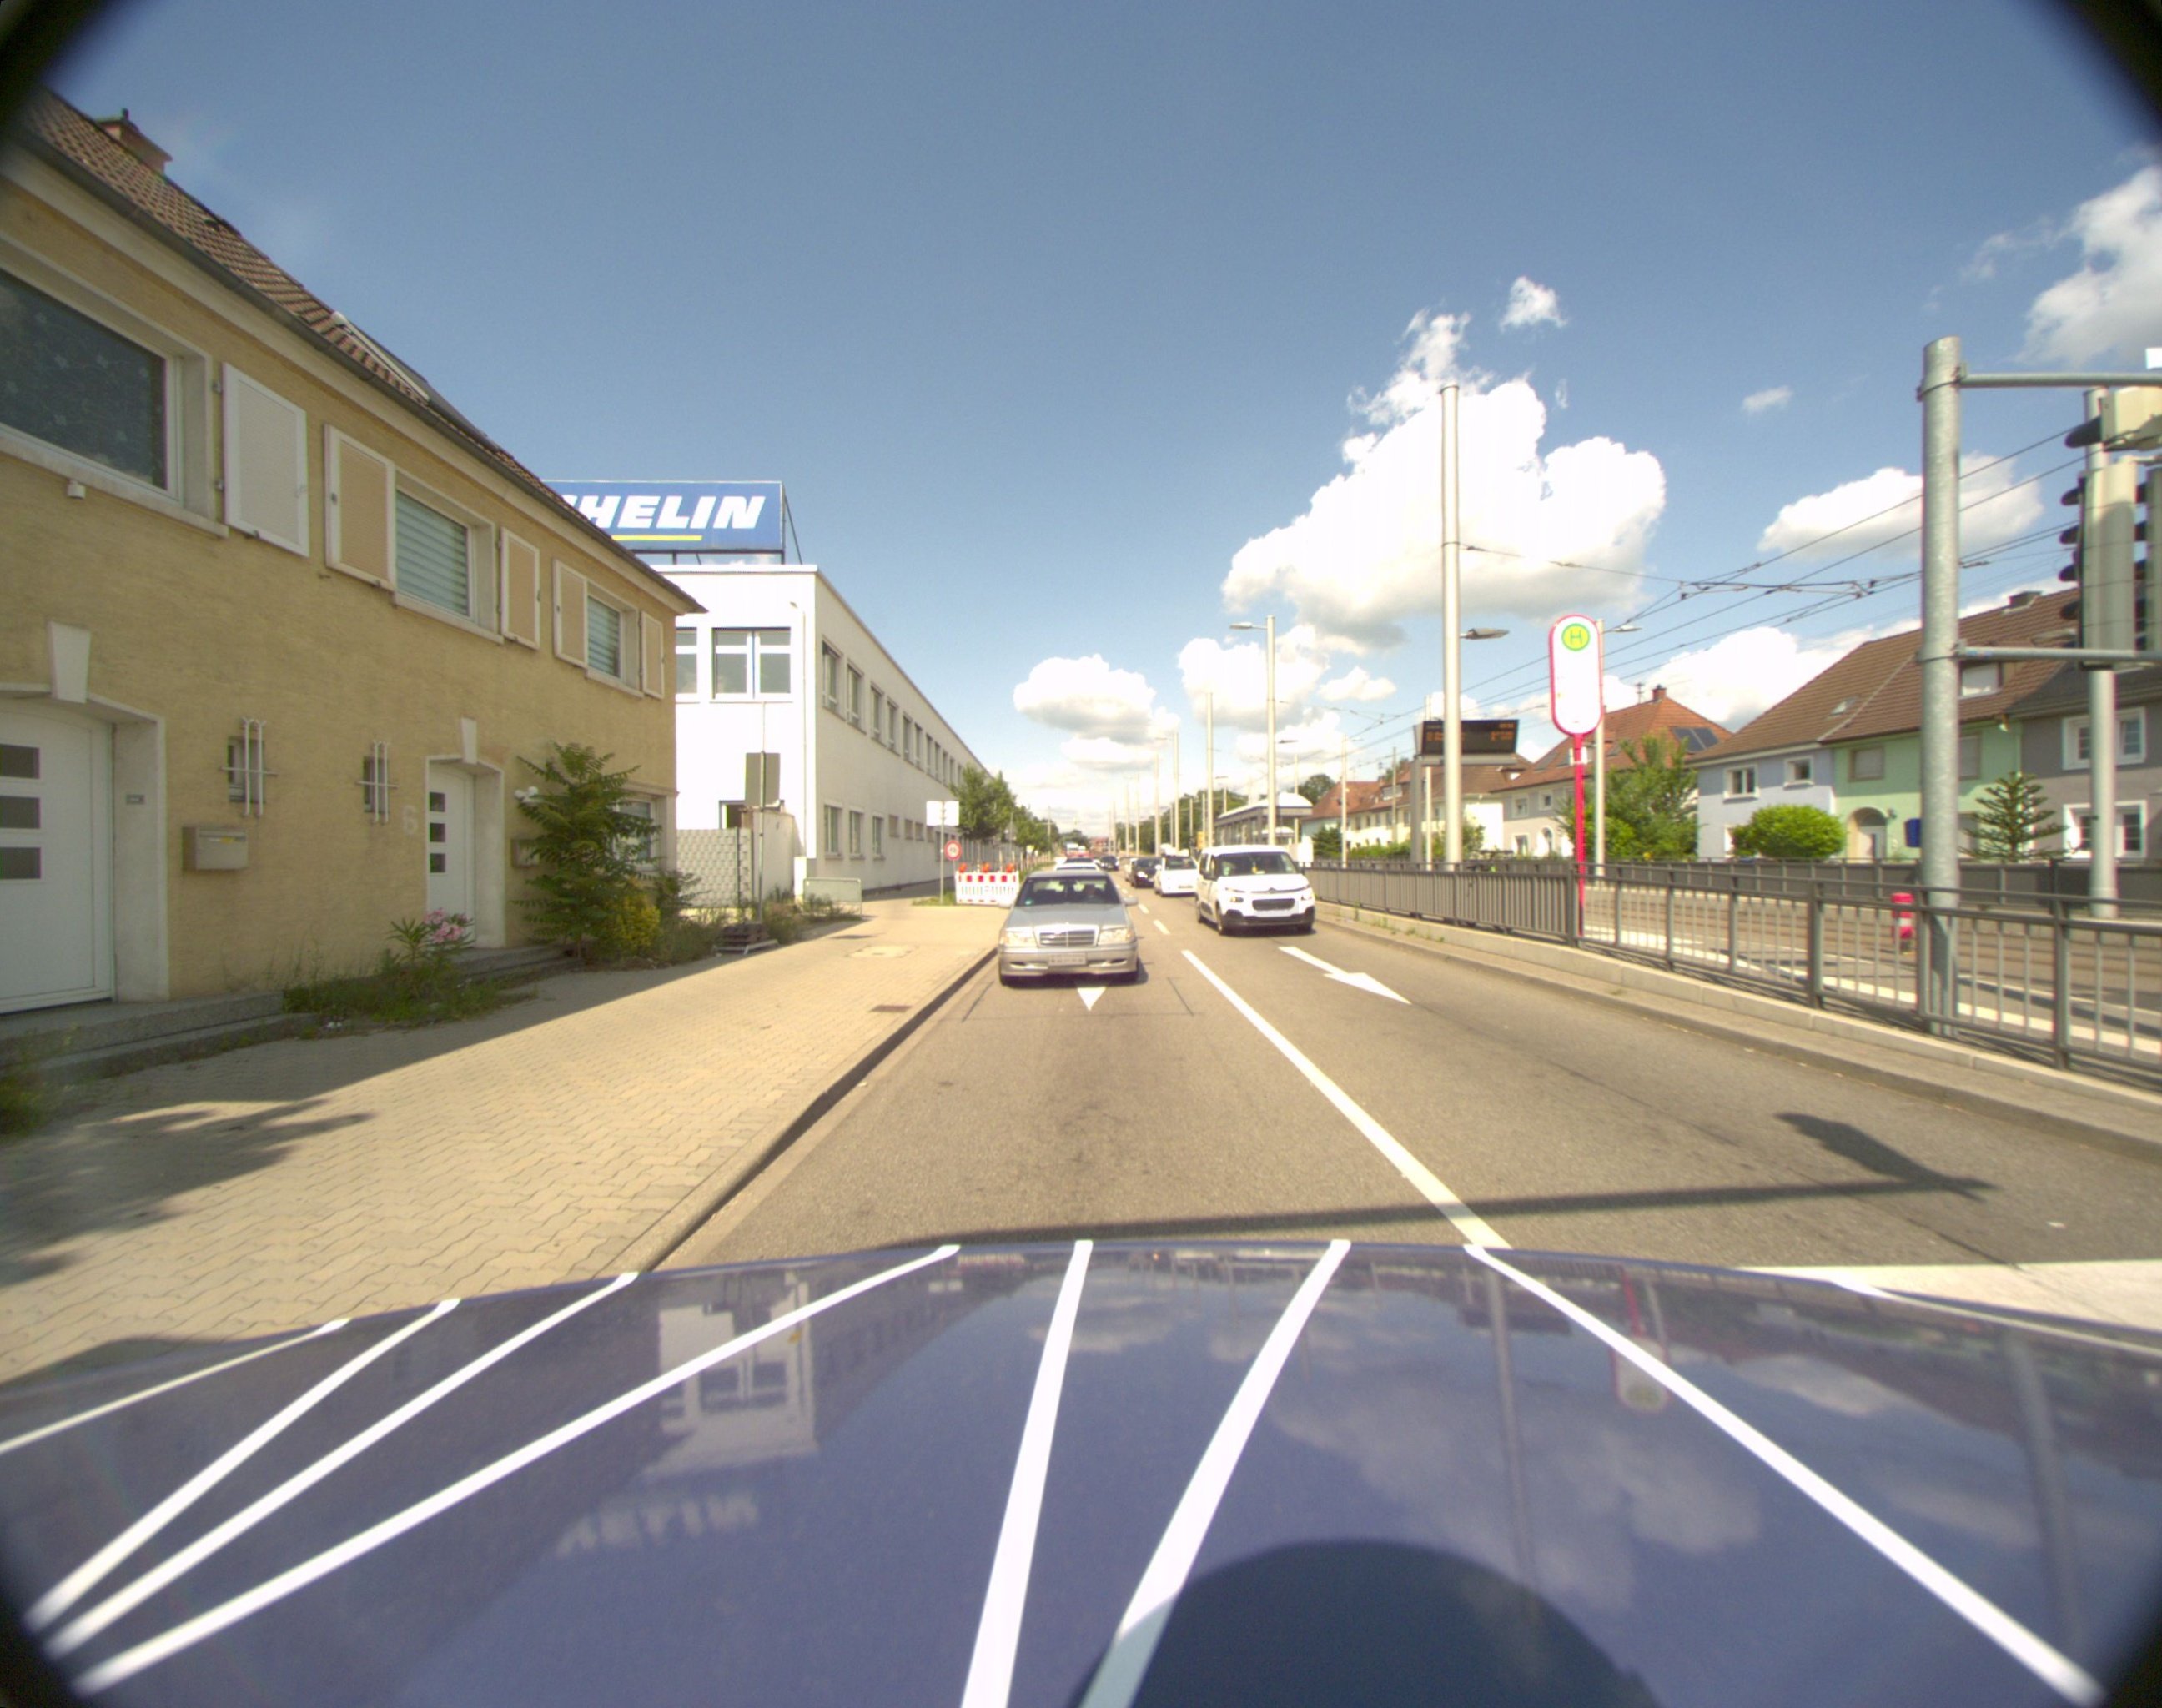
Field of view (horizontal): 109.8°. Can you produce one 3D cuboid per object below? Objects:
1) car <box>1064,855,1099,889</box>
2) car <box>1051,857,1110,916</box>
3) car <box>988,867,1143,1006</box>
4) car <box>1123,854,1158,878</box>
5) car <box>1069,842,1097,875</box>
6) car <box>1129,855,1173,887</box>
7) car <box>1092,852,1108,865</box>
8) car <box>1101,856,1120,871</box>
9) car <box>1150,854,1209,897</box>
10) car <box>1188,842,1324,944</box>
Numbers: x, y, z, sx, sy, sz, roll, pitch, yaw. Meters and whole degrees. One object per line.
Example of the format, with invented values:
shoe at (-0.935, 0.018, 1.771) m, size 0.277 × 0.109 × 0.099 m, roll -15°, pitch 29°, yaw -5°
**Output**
car at (-0.002, 0.885, 39.222) m, size 1.664 × 1.529 × 3.999 m, roll -2°, pitch 1°, yaw -1°
car at (-0.040, 0.937, 23.870) m, size 1.664 × 1.564 × 3.999 m, roll -2°, pitch 1°, yaw -1°
car at (-0.209, 0.986, 10.925) m, size 1.725 × 1.389 × 4.462 m, roll -2°, pitch 1°, yaw -1°
car at (3.639, 0.704, 46.953) m, size 1.698 × 1.350 × 4.498 m, roll -2°, pitch 1°, yaw -1°
car at (0.091, 0.281, 53.640) m, size 1.787 × 2.135 × 5.168 m, roll -2°, pitch 1°, yaw -1°
car at (3.413, 0.788, 37.590) m, size 1.680 × 1.414 × 3.557 m, roll -2°, pitch 1°, yaw -2°
car at (2.269, 0.494, 90.288) m, size 1.698 × 1.350 × 4.498 m, roll -2°, pitch 1°, yaw -1°
car at (2.965, 0.929, 76.910) m, size 1.698 × 1.350 × 4.498 m, roll -2°, pitch 1°, yaw -1°
car at (3.789, 0.786, 29.643) m, size 1.680 × 1.495 × 3.392 m, roll -2°, pitch 0°, yaw -2°
car at (3.503, 0.692, 16.041) m, size 1.799 × 1.804 × 4.329 m, roll -2°, pitch 1°, yaw -1°
